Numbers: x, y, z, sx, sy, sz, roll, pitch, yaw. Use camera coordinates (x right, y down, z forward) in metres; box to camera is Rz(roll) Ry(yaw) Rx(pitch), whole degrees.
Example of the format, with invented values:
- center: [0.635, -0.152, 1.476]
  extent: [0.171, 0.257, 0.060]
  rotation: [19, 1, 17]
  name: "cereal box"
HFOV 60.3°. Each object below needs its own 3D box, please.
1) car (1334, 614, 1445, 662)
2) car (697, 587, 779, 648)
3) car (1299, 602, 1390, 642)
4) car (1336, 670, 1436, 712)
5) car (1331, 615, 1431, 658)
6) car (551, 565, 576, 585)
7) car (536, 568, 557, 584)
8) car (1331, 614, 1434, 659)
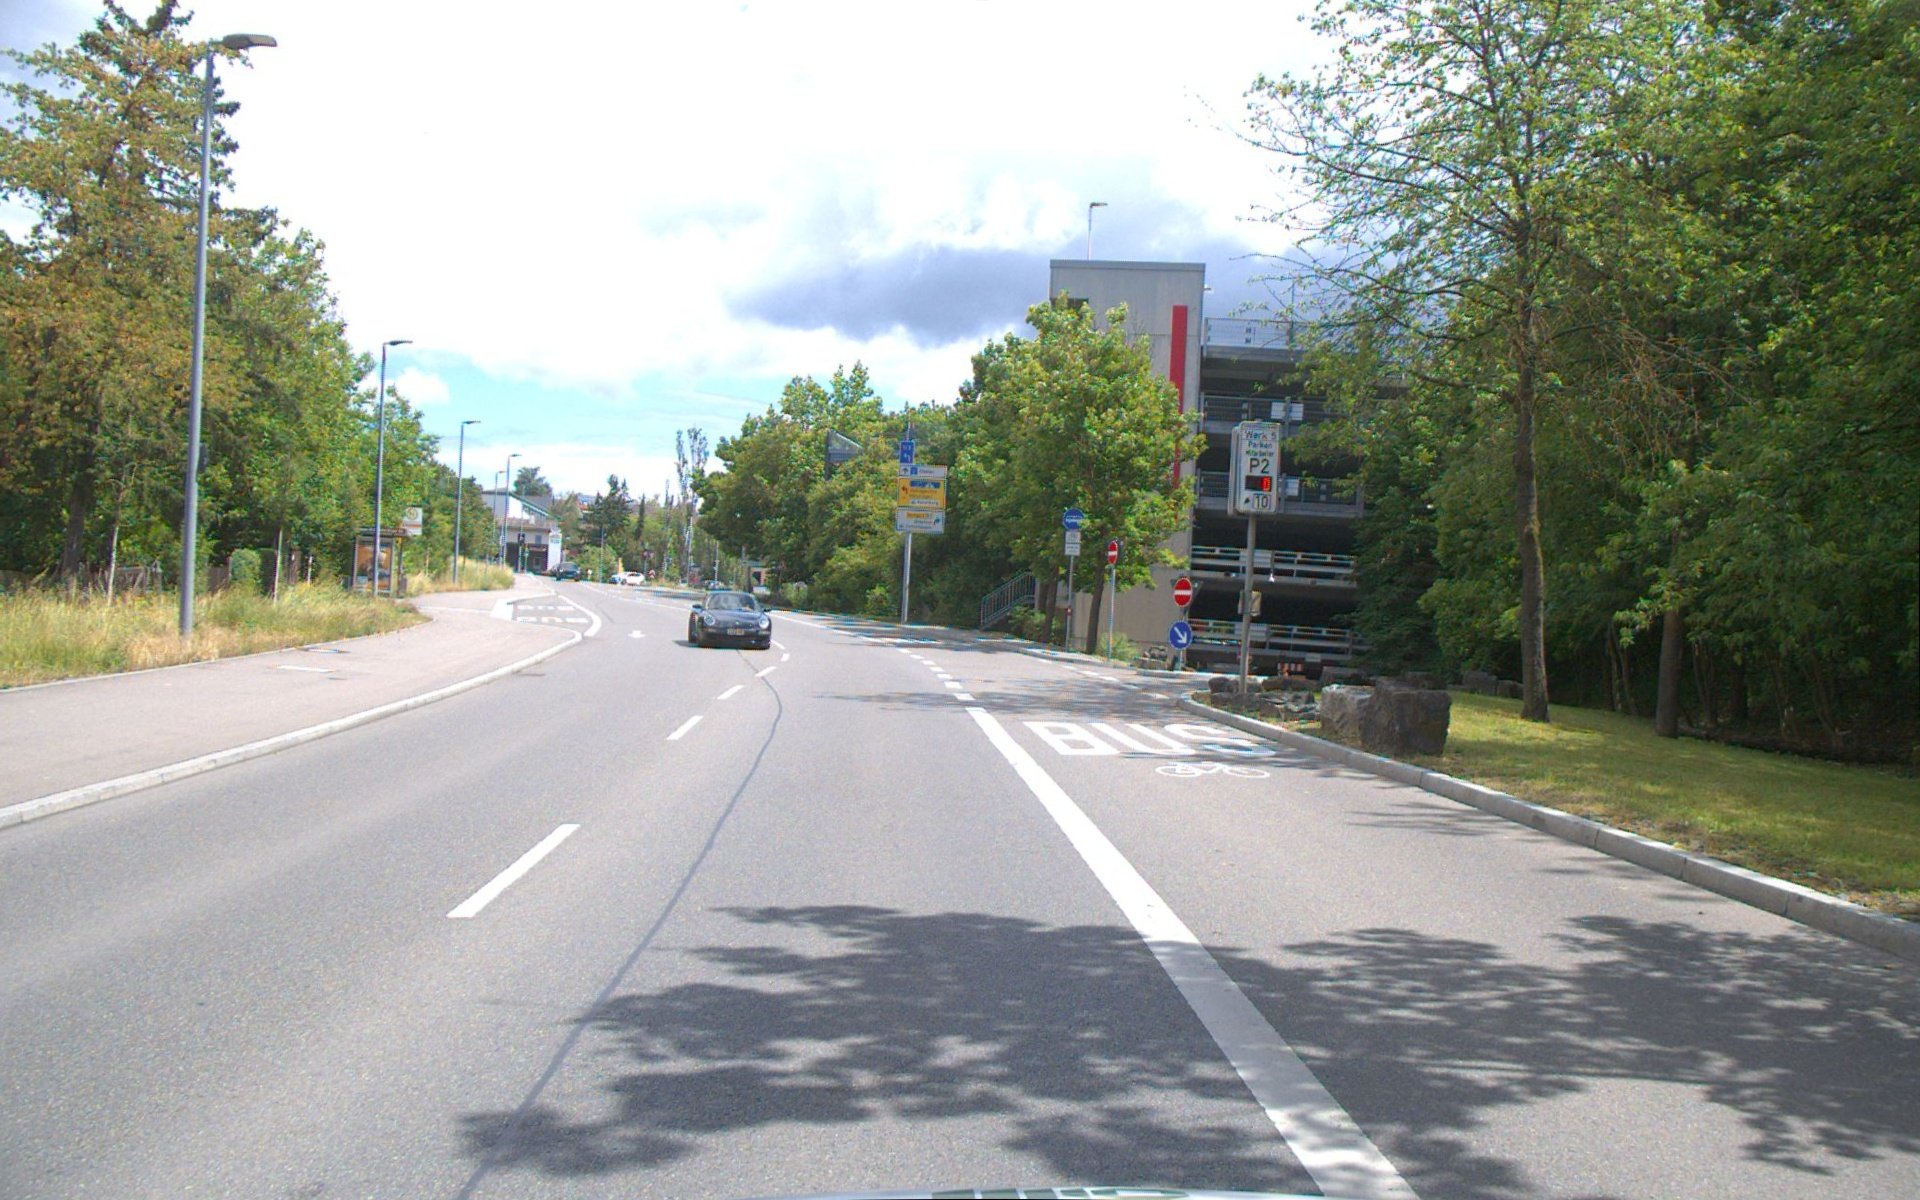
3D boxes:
- center: [17.488, 1.542, 67.539]
  extent: [4.222, 1.659, 2.002]
  rotation: [3, 0, 13]
  name: "car"
- center: [-5.280, 0.403, 39.774]
  extent: [1.700, 1.323, 4.000]
  rotation: [2, 0, -5]
  name: "car"
- center: [18.794, 1.066, 81.013]
  extent: [4.222, 1.659, 2.002]
  rotation: [3, 0, 13]
  name: "car"
- center: [19.028, 4.048, 74.051]
  extent: [4.222, 1.515, 2.002]
  rotation: [3, 0, 13]
  name: "car"
- center: [18.829, 1.603, 74.117]
  extent: [4.222, 1.659, 2.002]
  rotation: [3, 0, 13]
  name: "car"
- center: [-33.695, -2.125, 140.401]
  extent: [1.793, 1.584, 4.608]
  rotation: [1, 1, -17]
  name: "car"
- center: [-39.995, -2.348, 160.012]
  extent: [1.738, 1.467, 4.356]
  rotation: [2, 0, -17]
  name: "car"
- center: [18.380, 1.566, 72.096]
  extent: [4.222, 1.659, 2.002]
  rotation: [3, 0, 13]
  name: "car"
